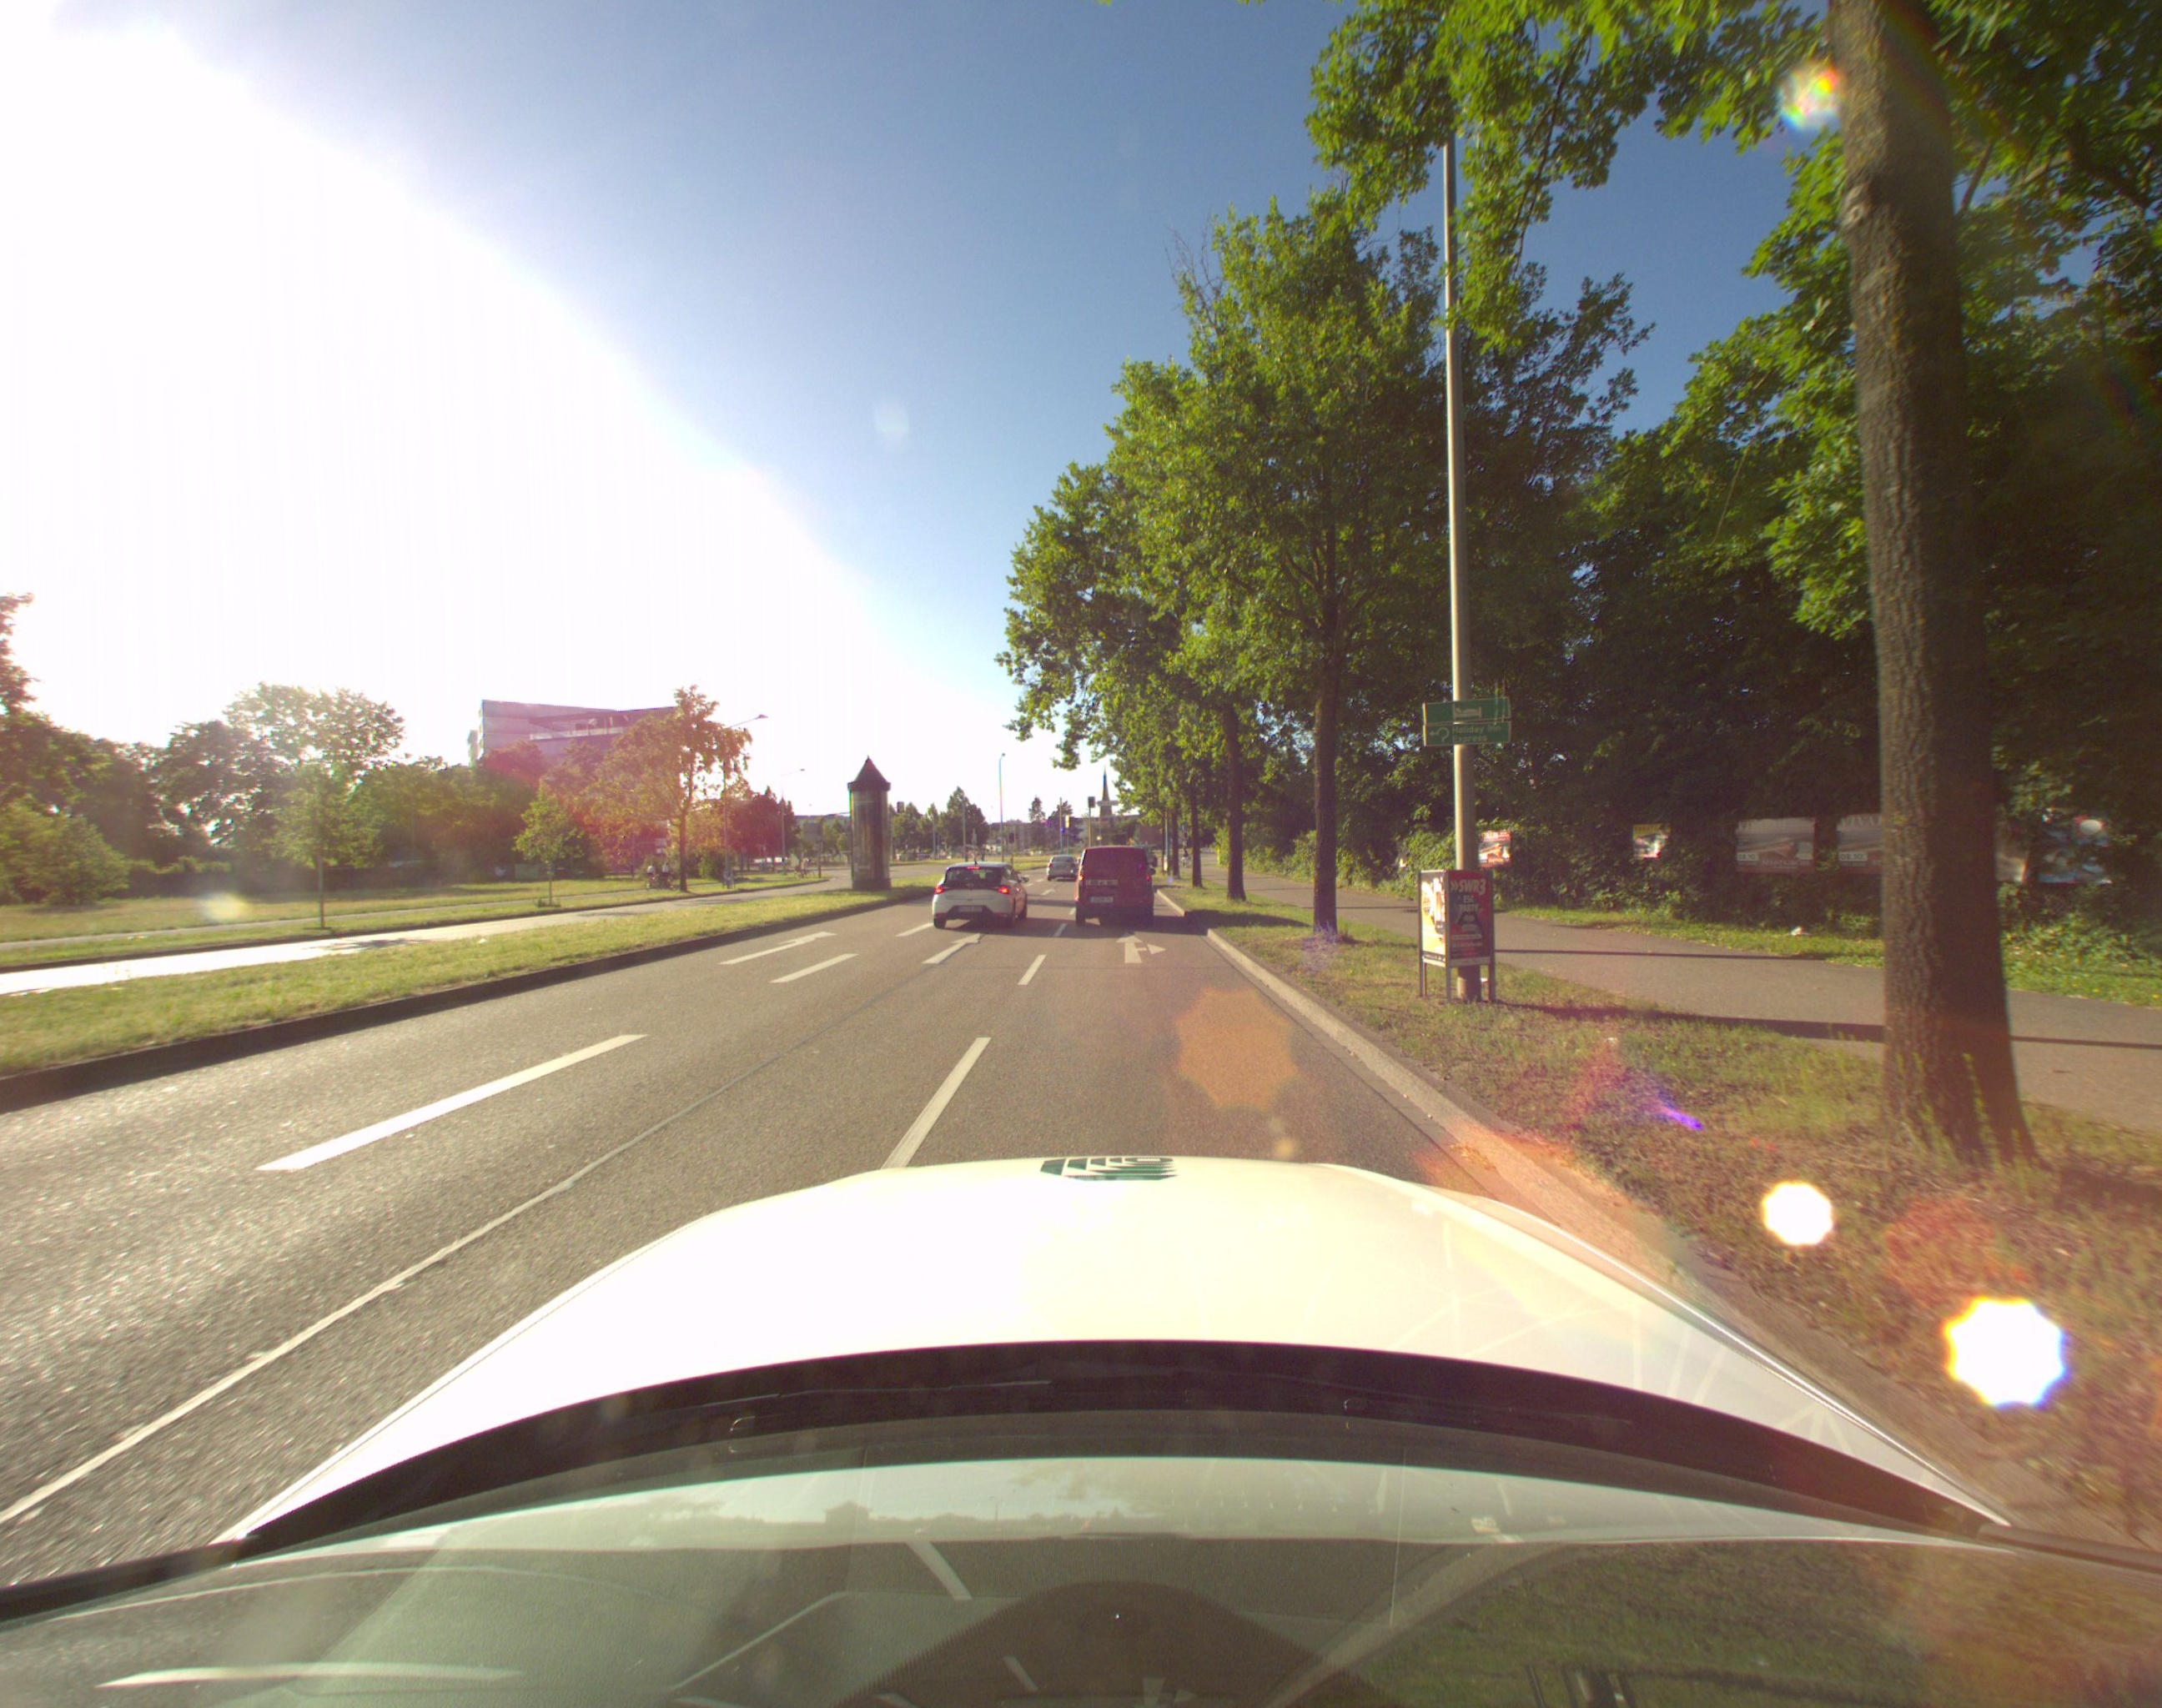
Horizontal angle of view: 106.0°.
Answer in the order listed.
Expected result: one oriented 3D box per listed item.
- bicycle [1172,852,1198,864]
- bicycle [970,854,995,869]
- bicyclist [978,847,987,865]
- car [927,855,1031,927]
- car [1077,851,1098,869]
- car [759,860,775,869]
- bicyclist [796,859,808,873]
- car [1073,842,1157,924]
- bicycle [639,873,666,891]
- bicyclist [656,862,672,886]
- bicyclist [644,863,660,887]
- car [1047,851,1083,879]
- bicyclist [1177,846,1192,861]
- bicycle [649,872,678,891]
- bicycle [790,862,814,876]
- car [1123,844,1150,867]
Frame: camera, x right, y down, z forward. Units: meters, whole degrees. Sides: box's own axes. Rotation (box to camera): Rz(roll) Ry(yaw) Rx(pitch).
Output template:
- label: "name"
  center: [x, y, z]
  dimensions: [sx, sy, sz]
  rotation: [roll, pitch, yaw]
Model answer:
- label: "bicycle"
  center: [8.728, 0.316, 68.563]
  dimensions: [2.133, 0.958, 0.781]
  rotation: [-2, 0, -30]
- label: "bicycle"
  center: [-7.998, 0.579, 66.340]
  dimensions: [1.952, 1.166, 0.517]
  rotation: [-2, 0, 0]
- label: "bicyclist"
  center: [-7.998, 0.179, 66.339]
  dimensions: [0.601, 1.468, 0.517]
  rotation: [-2, 0, 0]
- label: "car"
  center: [-2.260, 0.785, 19.126]
  dimensions: [1.771, 1.408, 4.077]
  rotation: [-1, 1, 2]
- label: "car"
  center: [0.569, 0.448, 68.542]
  dimensions: [1.655, 1.398, 3.560]
  rotation: [-2, 1, 2]
- label: "car"
  center: [-63.716, 2.049, 165.106]
  dimensions: [1.831, 1.705, 3.954]
  rotation: [-1, 0, -39]
- label: "bicyclist"
  center: [-22.876, 0.992, 66.810]
  dimensions: [0.729, 1.107, 0.607]
  rotation: [-2, 0, 15]
- label: "car"
  center: [0.798, 0.596, 19.595]
  dimensions: [1.799, 1.759, 4.008]
  rotation: [-1, 1, 2]
- label: "bicycle"
  center: [-25.927, 1.667, 49.283]
  dimensions: [0.485, 1.003, 2.097]
  rotation: [-2, 0, 1]
- label: "bicyclist"
  center: [-24.889, 1.211, 48.597]
  dimensions: [0.560, 1.392, 0.747]
  rotation: [-2, 0, 1]
- label: "bicyclist"
  center: [-25.939, 1.251, 49.232]
  dimensions: [0.480, 1.394, 0.844]
  rotation: [-2, 0, 1]
- label: "car"
  center: [-0.894, 0.608, 47.288]
  dimensions: [1.834, 1.456, 4.165]
  rotation: [0, 1, 2]
- label: "bicyclist"
  center: [8.694, -0.063, 68.551]
  dimensions: [0.974, 1.249, 0.781]
  rotation: [-2, 0, -30]
- label: "bicycle"
  center: [-24.875, 1.627, 48.574]
  dimensions: [0.568, 1.003, 2.097]
  rotation: [-2, 0, 1]
- label: "bicycle"
  center: [-22.885, 1.228, 66.816]
  dimensions: [1.714, 1.107, 0.607]
  rotation: [-2, 0, 14]
- label: "car"
  center: [4.637, 0.096, 67.811]
  dimensions: [1.648, 1.761, 3.511]
  rotation: [-2, 0, 14]
